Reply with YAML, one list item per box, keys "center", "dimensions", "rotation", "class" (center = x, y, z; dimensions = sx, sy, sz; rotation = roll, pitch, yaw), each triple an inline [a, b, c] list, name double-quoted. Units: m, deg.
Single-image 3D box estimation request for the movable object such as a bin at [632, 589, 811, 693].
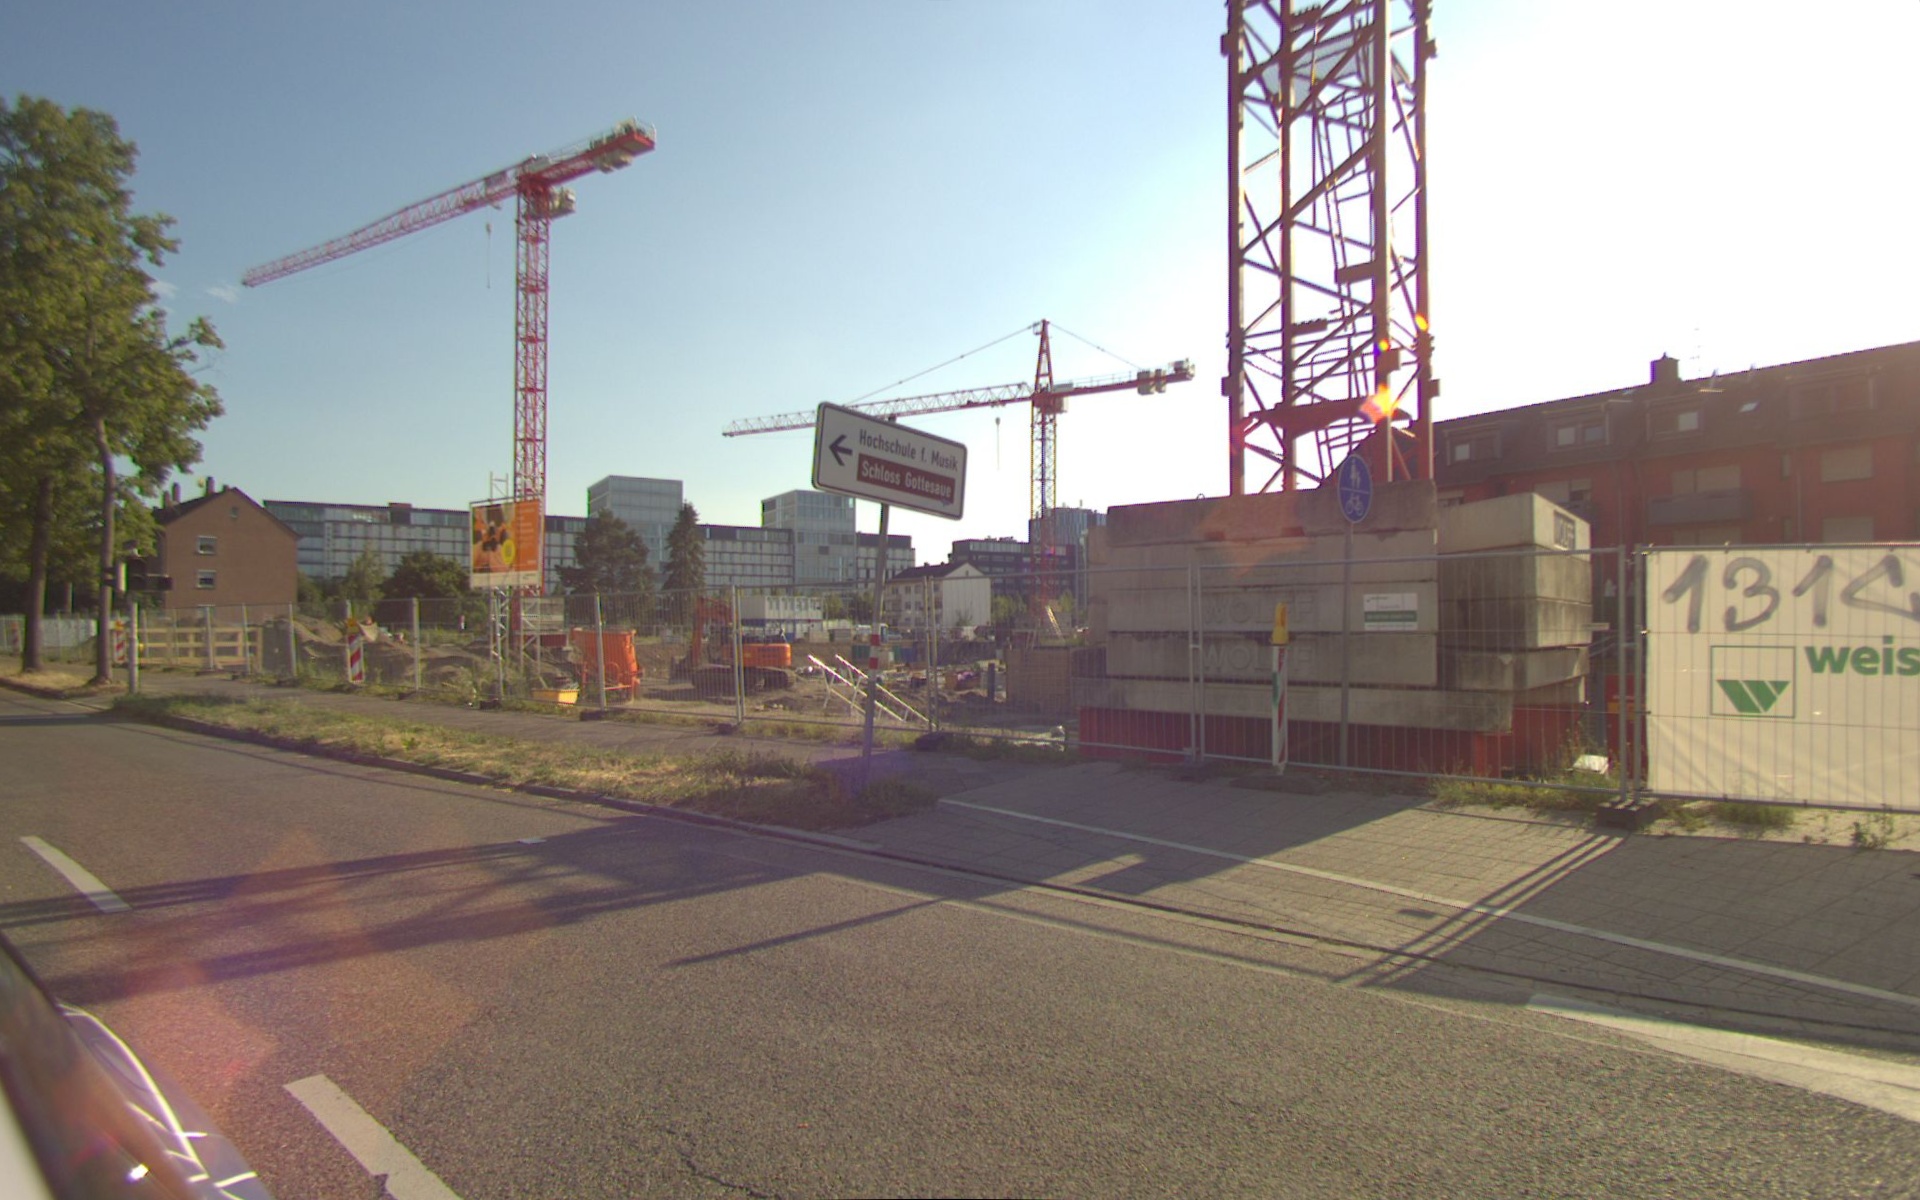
- center: [-13.411, 2.020, 55.789]
  dimensions: [4.039, 5.102, 12.235]
  rotation: [-1, 0, -43]
  class: "movable object such as a bin"
